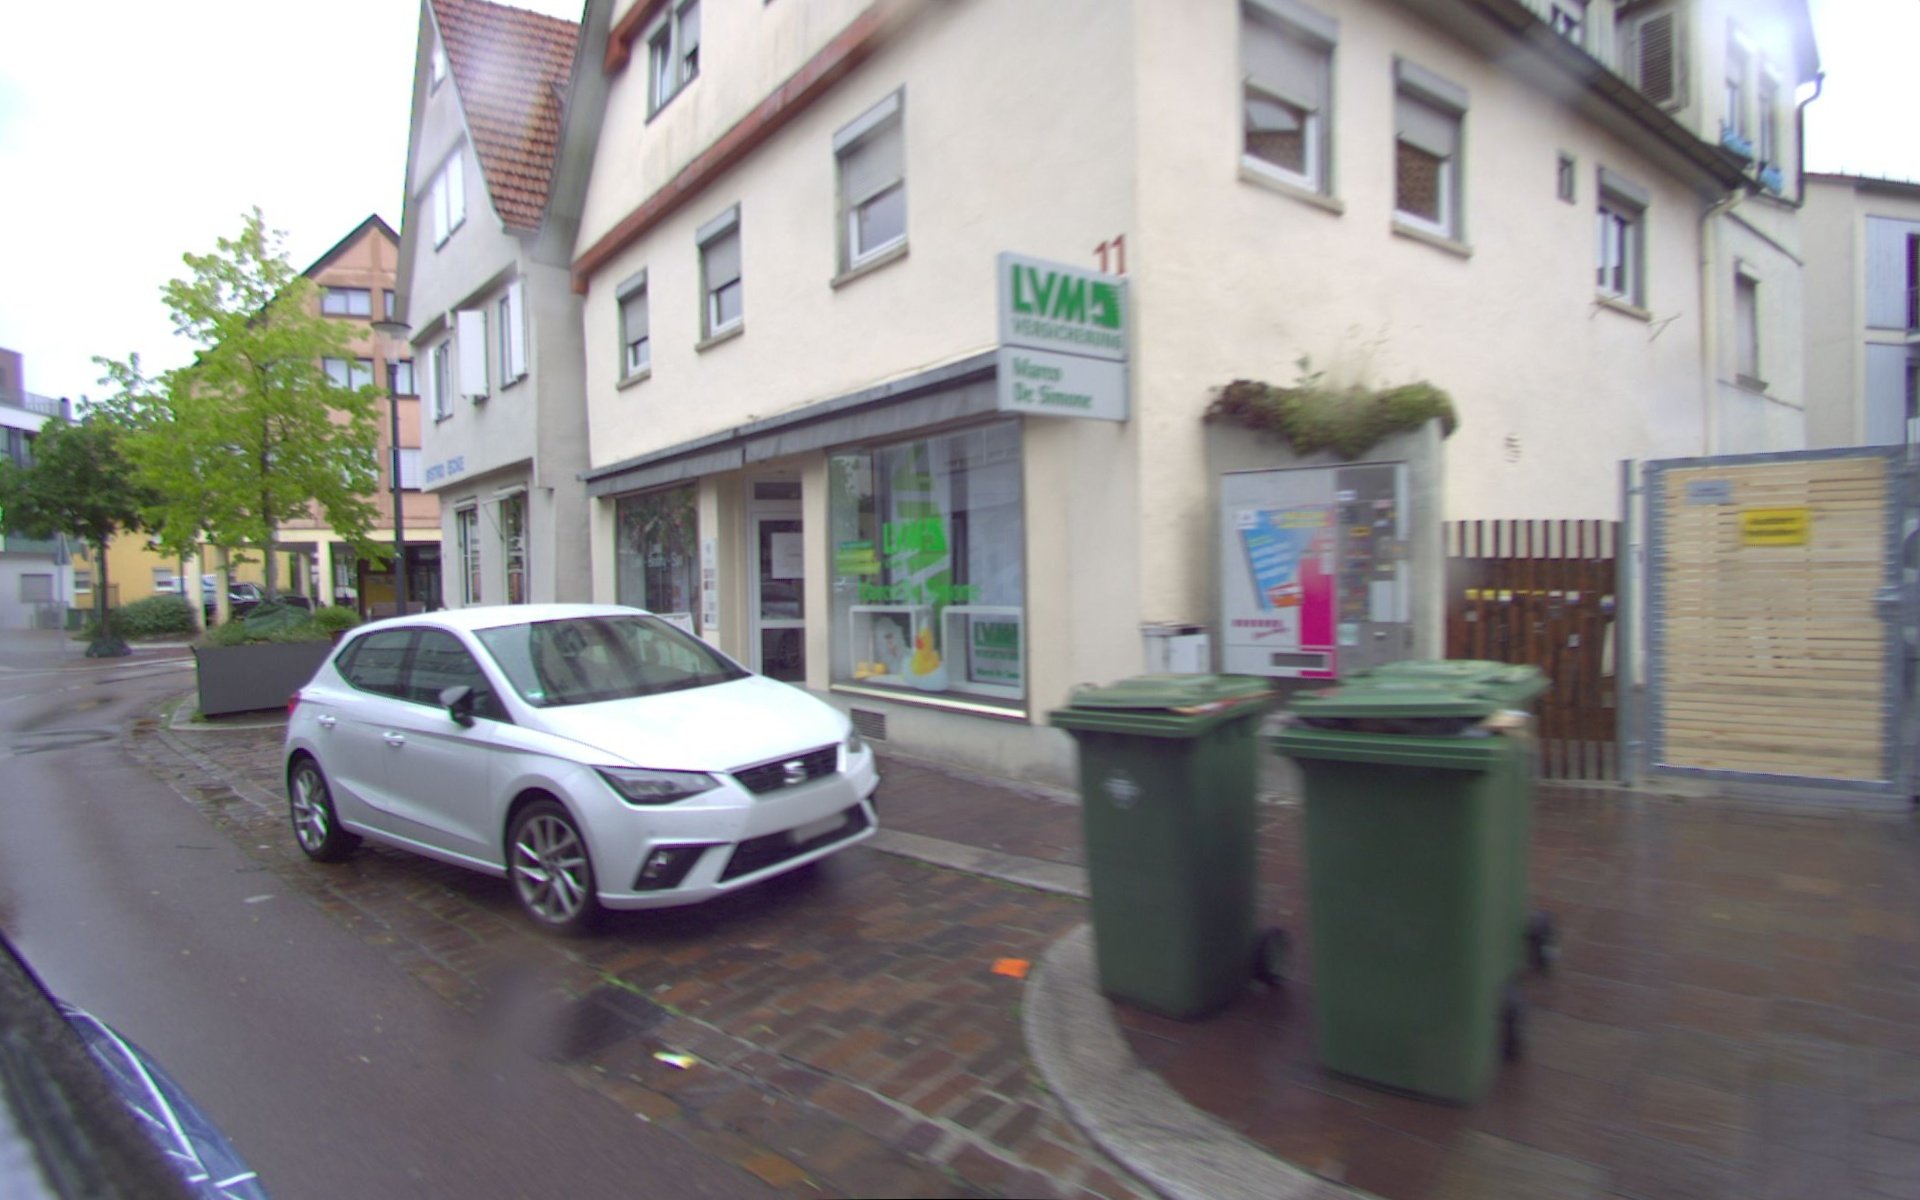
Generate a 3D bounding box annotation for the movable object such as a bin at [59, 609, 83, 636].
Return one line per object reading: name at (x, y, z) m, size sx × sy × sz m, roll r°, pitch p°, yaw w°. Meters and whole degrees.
movable object such as a bin at (-41.247, 1.047, 46.974) m, size 0.622 × 1.242 × 0.524 m, roll -1°, pitch 2°, yaw -8°

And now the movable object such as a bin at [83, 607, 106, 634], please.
movable object such as a bin at (-41.444, 0.973, 48.448) m, size 0.622 × 1.242 × 0.524 m, roll -1°, pitch 2°, yaw -8°

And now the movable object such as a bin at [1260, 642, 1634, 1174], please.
movable object such as a bin at (1.339, 0.715, 2.780) m, size 0.719 × 1.152 × 0.692 m, roll -2°, pitch 0°, yaw 44°

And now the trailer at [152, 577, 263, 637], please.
trailer at (-30.140, 0.273, 40.616) m, size 3.041 × 2.103 × 1.842 m, roll -4°, pitch 1°, yaw -18°

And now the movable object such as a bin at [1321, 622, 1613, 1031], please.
movable object such as a bin at (1.740, 0.682, 3.470) m, size 0.719 × 1.130 × 0.692 m, roll 1°, pitch 5°, yaw 44°

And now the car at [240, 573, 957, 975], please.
car at (-2.205, 0.688, 5.704) m, size 4.065 × 1.463 × 1.832 m, roll -2°, pitch 1°, yaw 37°

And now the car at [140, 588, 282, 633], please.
car at (-28.420, 0.369, 38.523) m, size 3.931 × 1.519 × 1.842 m, roll -1°, pitch 2°, yaw -18°

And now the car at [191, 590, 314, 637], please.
car at (-30.610, 0.575, 43.911) m, size 3.932 × 1.683 × 1.842 m, roll -5°, pitch 1°, yaw -18°

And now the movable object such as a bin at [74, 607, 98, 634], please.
movable object such as a bin at (-41.366, 0.982, 47.905) m, size 0.622 × 1.242 × 0.524 m, roll -1°, pitch 2°, yaw -8°

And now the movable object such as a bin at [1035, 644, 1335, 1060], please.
movable object such as a bin at (0.758, 0.749, 3.412) m, size 0.719 × 1.144 × 0.674 m, roll -1°, pitch 1°, yaw 44°
